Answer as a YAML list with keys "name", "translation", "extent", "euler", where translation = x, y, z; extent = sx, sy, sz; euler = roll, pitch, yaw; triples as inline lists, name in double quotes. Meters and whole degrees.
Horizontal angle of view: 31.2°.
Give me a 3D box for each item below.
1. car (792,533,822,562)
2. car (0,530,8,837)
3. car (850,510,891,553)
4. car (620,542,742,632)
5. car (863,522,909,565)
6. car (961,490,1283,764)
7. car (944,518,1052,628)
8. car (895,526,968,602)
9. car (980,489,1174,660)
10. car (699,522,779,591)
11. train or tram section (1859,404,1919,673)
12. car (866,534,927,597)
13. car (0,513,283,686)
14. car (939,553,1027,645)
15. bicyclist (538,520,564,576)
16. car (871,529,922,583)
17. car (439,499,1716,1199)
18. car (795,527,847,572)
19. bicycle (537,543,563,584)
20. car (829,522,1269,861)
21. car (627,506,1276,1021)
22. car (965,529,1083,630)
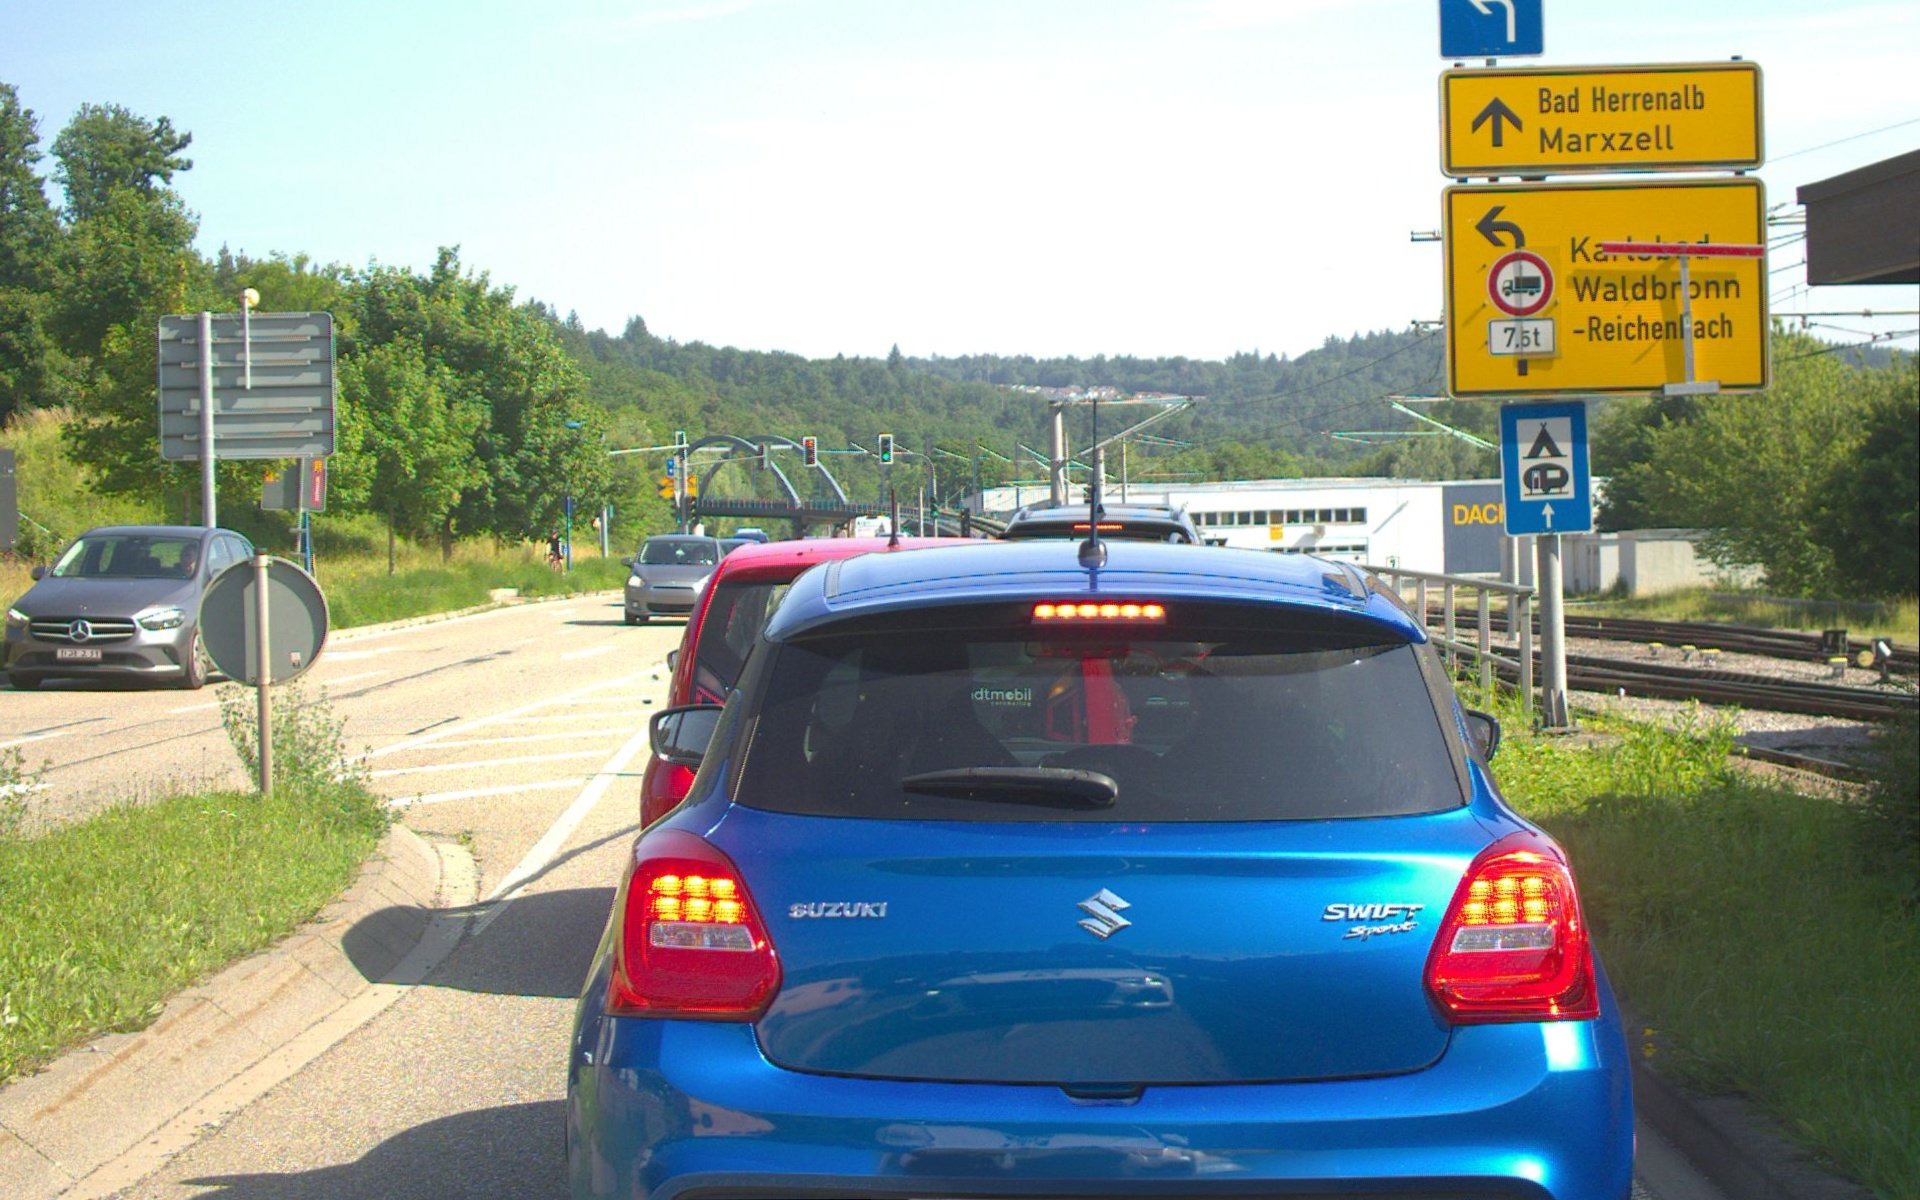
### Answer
- name: "car"
  translation: [-10.854, -3.759, 244.441]
  extent: [1.993, 2.007, 4.000]
  euler: [1, 1, -1]
- name: "car"
  translation: [-5.558, 0.444, 14.198]
  extent: [1.791, 1.465, 4.716]
  euler: [0, 1, 2]
- name: "car"
  translation: [-4.553, -3.483, 176.029]
  extent: [1.993, 2.137, 4.720]
  euler: [1, 1, -1]
- name: "car"
  translation: [-4.644, -0.239, 57.708]
  extent: [1.672, 1.436, 3.840]
  euler: [1, 1, 1]
- name: "car"
  translation: [-3.394, -2.618, 157.965]
  extent: [1.993, 1.810, 4.001]
  euler: [2, 2, -1]
- name: "car"
  translation: [1.063, 0.117, 24.068]
  extent: [1.993, 1.681, 4.497]
  euler: [2, 1, 1]
- name: "car"
  translation: [0.726, -0.568, 68.103]
  extent: [1.993, 2.006, 4.001]
  euler: [2, 2, -1]
- name: "car"
  translation: [-0.835, -1.063, 98.813]
  extent: [1.993, 2.006, 4.001]
  euler: [2, 2, -1]
- name: "car"
  translation: [1.262, -0.316, 38.096]
  extent: [1.993, 1.730, 4.000]
  euler: [2, 1, 1]
- name: "car"
  translation: [-5.512, -1.109, 86.065]
  extent: [1.832, 1.463, 3.812]
  euler: [2, 3, -2]
- name: "train or tram section"
  translation: [13.555, -0.626, 39.180]
  extent: [2.755, 3.352, 12.050]
  euler: [1, 2, -3]
- name: "car"
  translation: [-2.162, -1.195, 117.241]
  extent: [1.993, 2.006, 4.001]
  euler: [2, 2, -1]
- name: "car"
  translation: [-8.066, -0.057, 33.384]
  extent: [1.993, 1.558, 4.509]
  euler: [0, 1, 1]
- name: "car"
  translation: [0.530, -0.062, 82.889]
  extent: [1.993, 2.006, 4.001]
  euler: [2, 2, -1]
- name: "bicyclist"
  translation: [-11.082, -1.416, 93.160]
  extent: [0.629, 1.502, 0.506]
  euler: [2, 2, -3]
- name: "car"
  translation: [-2.556, -1.785, 138.870]
  extent: [1.993, 2.006, 4.001]
  euler: [2, 2, -1]
- name: "car"
  translation: [0.127, 0.584, 7.049]
  extent: [1.868, 1.543, 4.000]
  euler: [0, 1, -1]
- name: "car"
  translation: [-5.648, -2.069, 140.137]
  extent: [1.993, 1.777, 4.000]
  euler: [1, 1, -1]
- name: "bicycle"
  translation: [-11.106, -0.987, 93.186]
  extent: [0.566, 1.039, 1.552]
  euler: [2, 2, -3]
- name: "car"
  translation: [0.445, 0.367, 17.986]
  extent: [1.993, 1.526, 4.602]
  euler: [-1, 1, 1]
- name: "car"
  translation: [0.004, 0.478, 12.718]
  extent: [1.993, 1.566, 4.000]
  euler: [1, 1, 1]
- name: "car"
  translation: [1.068, -0.372, 56.582]
  extent: [1.832, 1.488, 3.811]
  euler: [2, 2, 1]
